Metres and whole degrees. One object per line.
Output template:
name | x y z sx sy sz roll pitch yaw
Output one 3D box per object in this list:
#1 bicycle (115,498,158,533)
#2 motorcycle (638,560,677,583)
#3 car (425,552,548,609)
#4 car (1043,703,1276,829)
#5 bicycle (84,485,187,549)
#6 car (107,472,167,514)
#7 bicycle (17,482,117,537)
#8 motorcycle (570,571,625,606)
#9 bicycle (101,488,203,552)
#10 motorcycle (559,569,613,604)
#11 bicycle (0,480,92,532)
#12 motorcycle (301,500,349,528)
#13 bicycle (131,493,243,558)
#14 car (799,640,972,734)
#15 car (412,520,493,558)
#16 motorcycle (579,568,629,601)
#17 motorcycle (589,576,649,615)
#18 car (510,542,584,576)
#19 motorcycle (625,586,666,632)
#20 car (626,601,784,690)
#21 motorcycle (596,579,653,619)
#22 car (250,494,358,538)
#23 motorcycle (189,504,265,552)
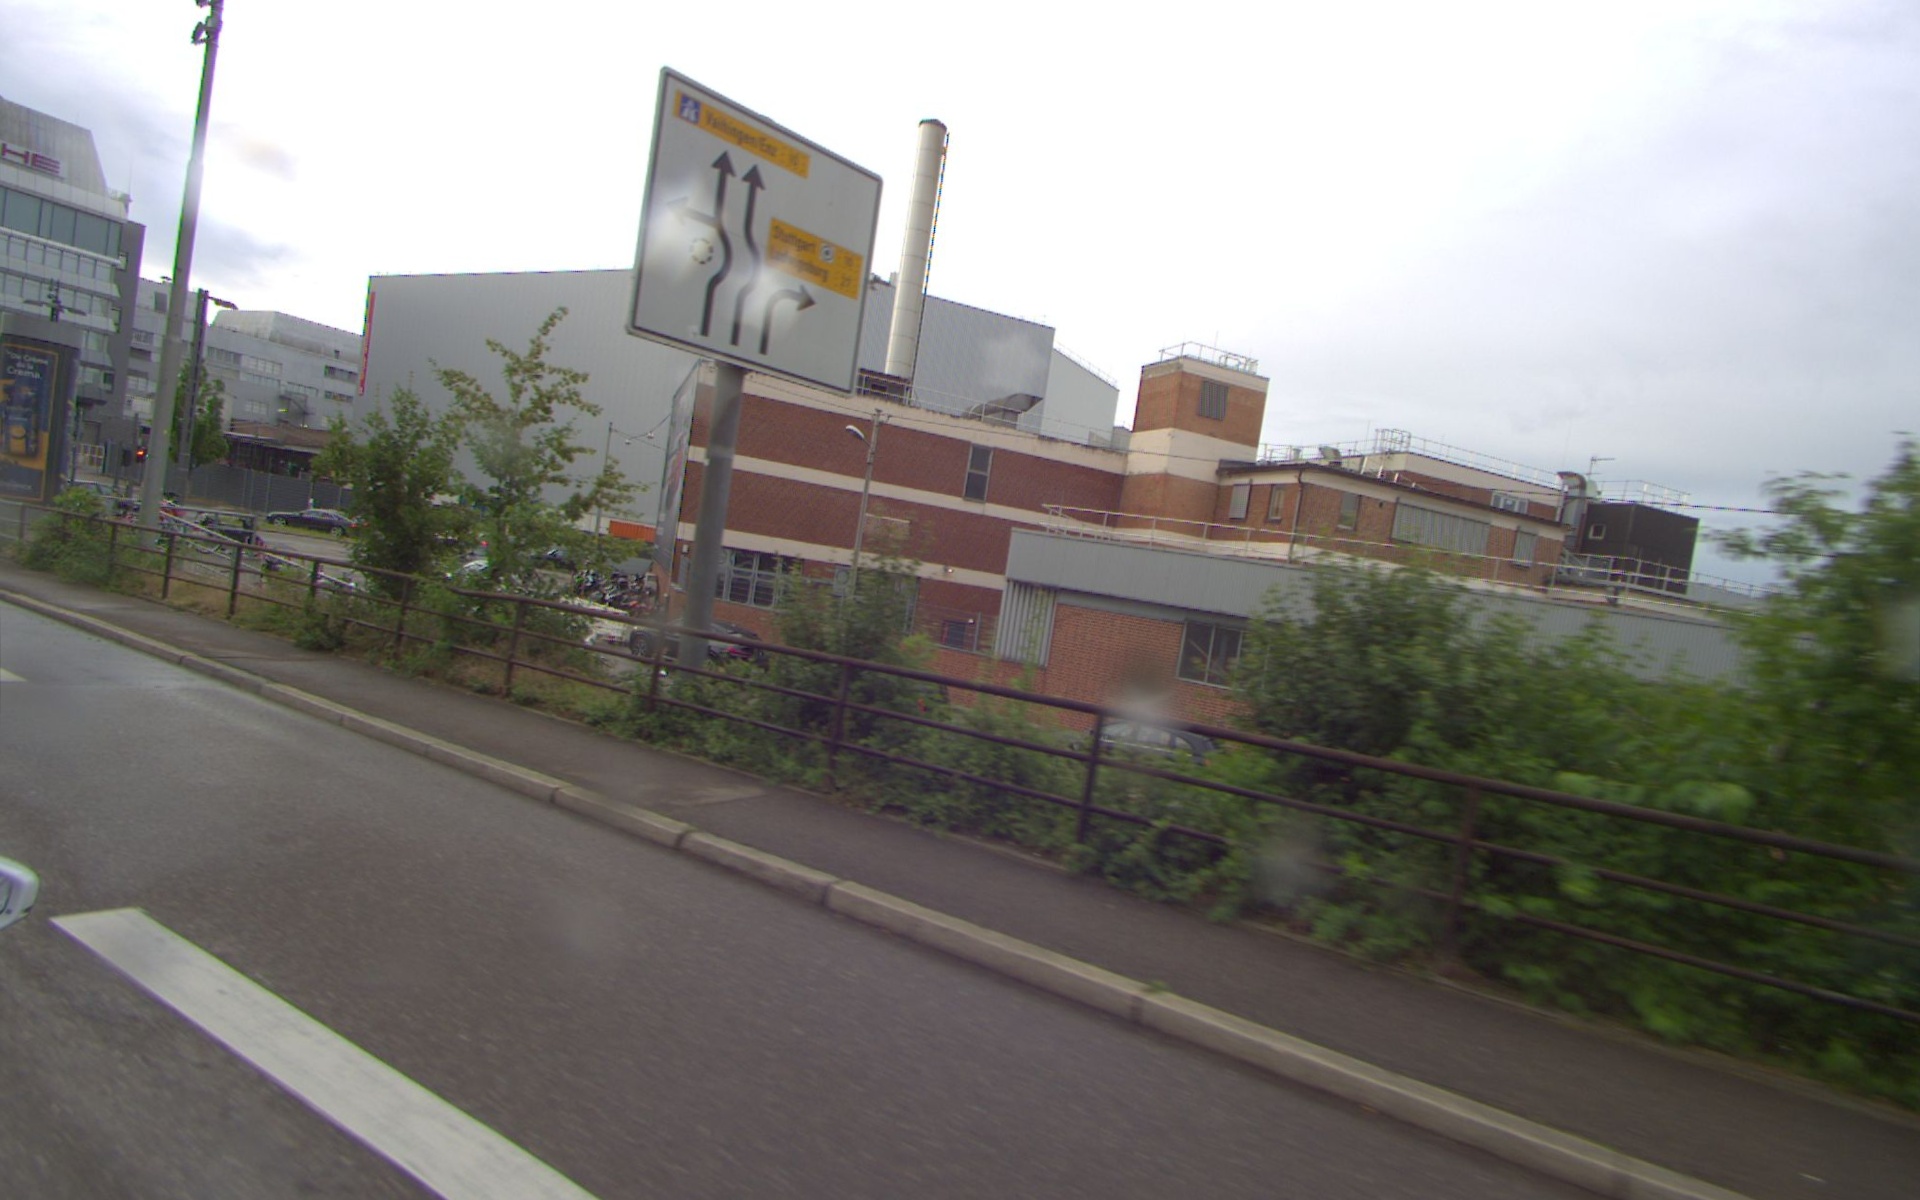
bicycle | -29.713 -3.031 36.323 0.380 1.111 1.745 7 1 -13
motorcycle | -21.337 -2.019 71.017 2.461 1.201 0.994 8 1 -22
car | -17.001 -0.680 36.214 1.670 1.500 3.543 12 3 43
car | 4.158 3.389 21.187 4.355 1.651 1.635 8 1 31
bicycle | -18.787 -1.859 22.973 0.588 1.239 1.932 7 1 3
car | -31.759 -4.119 38.895 1.602 1.307 3.528 7 0 -38
bicycle | -23.283 -2.340 26.253 0.582 1.176 1.800 7 1 34
motorcycle | -15.008 -0.474 41.647 1.998 1.206 0.605 6 4 -27
bicycle | -18.154 -1.774 22.663 0.588 1.239 1.932 7 1 2
motorcycle | -15.735 -0.582 42.358 1.992 1.206 0.606 6 4 -17
bicycle | -25.367 -2.584 27.928 0.668 1.154 1.769 7 0 38
motorcycle | -40.158 -5.435 63.632 2.326 1.361 0.650 8 1 -19
bicycle | -17.266 -1.643 22.535 0.588 1.193 1.932 7 1 16
car | -1.875 2.124 25.021 3.865 1.648 1.700 8 1 31
car | -30.941 -3.725 61.465 3.924 1.620 1.904 9 0 -17
motorcycle | -16.252 -0.710 45.909 1.984 1.206 0.609 8 4 7
motorcycle | -13.281 -0.178 39.230 2.009 1.327 0.679 4 5 -45
car | -25.789 -2.587 62.953 3.943 1.409 1.750 10 1 -17
motorcycle | -11.263 0.308 36.001 0.919 1.327 1.968 5 4 -29
car | -7.201 1.274 28.297 4.191 1.628 1.701 11 1 31
motorcycle | -12.683 -0.045 38.022 1.856 1.327 0.566 4 5 -41
car | -35.951 -4.600 55.252 4.519 1.558 1.750 10 1 -17
motorcycle | -27.888 -2.732 38.333 2.216 1.470 0.749 8 1 -36
